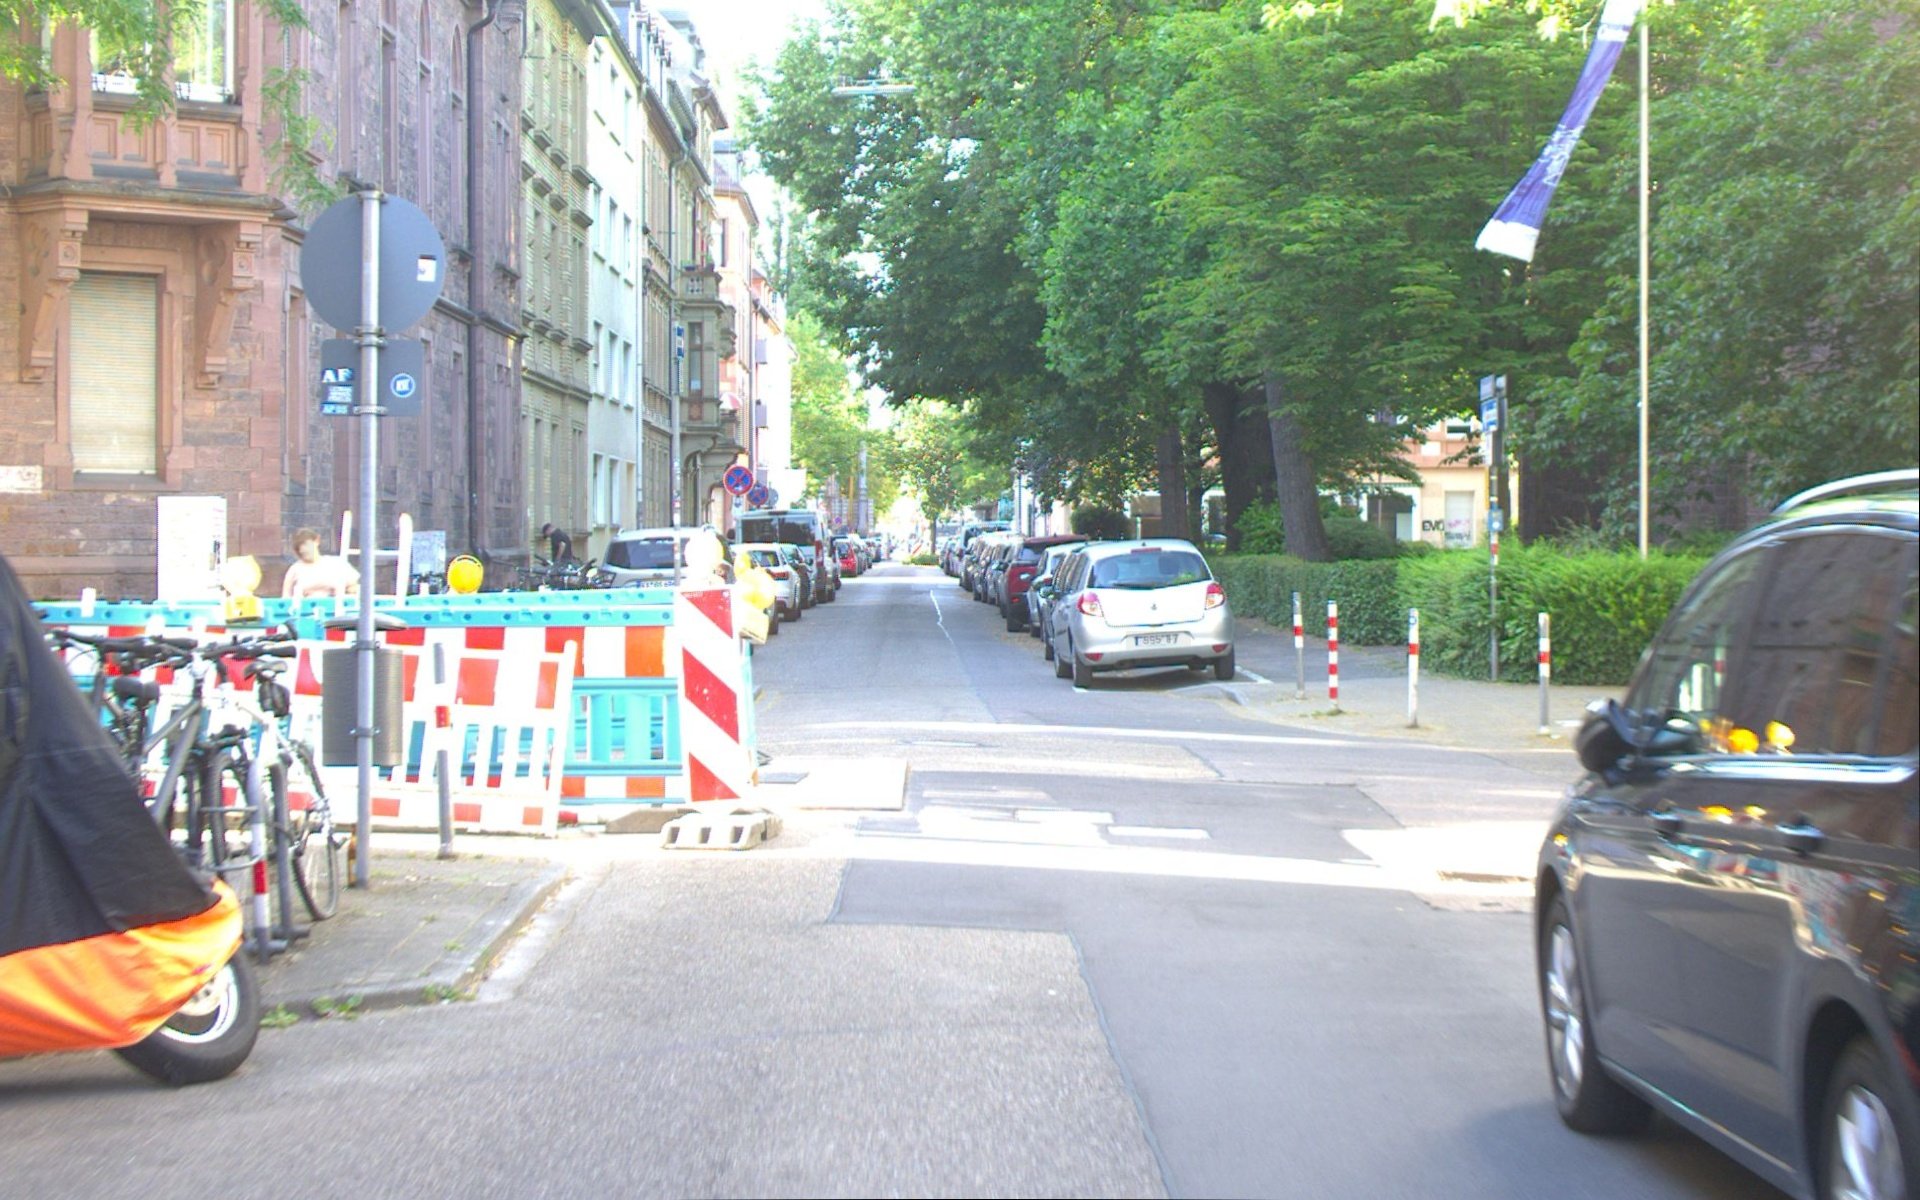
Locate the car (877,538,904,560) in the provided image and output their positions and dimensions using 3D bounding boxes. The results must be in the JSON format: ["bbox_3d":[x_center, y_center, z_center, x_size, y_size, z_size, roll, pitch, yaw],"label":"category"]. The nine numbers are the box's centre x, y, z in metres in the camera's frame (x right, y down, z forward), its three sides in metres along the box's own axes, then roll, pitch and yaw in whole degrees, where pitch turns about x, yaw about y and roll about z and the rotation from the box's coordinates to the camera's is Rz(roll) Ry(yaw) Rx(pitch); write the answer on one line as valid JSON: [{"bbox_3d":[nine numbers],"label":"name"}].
[{"bbox_3d":[-5.047,-3.708,250.480,1.993,1.641,4.000,0,1,-1],"label":"car"}]

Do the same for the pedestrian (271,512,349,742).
[{"bbox_3d":[-4.947,0.197,26.169,0.524,1.734,0.558,0,1,-5],"label":"pedestrian"}]

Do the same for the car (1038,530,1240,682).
[{"bbox_3d":[1.864,0.022,36.927,1.723,1.517,4.001,-1,1,-3],"label":"car"}]

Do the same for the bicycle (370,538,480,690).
[{"bbox_3d":[-5.220,0.106,33.662,0.683,1.418,2.798,0,1,-1],"label":"bicycle"}]

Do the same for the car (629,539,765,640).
[{"bbox_3d":[-3.744,-0.176,49.461,1.725,1.388,4.000,0,1,-1],"label":"car"}]

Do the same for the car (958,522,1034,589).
[{"bbox_3d":[0.920,-1.184,89.644,1.829,1.698,4.001,0,1,-2],"label":"car"}]

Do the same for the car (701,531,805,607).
[{"bbox_3d":[-3.804,-0.598,63.659,1.771,1.349,4.000,0,1,-1],"label":"car"}]

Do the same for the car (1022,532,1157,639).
[{"bbox_3d":[1.973,-0.260,53.293,1.841,1.590,4.000,0,1,-1],"label":"car"}]

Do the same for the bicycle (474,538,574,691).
[{"bbox_3d":[-4.229,0.111,33.236,0.572,1.418,2.503,0,1,-16],"label":"bicycle"}]

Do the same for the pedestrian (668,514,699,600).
[{"bbox_3d":[-6.496,-1.017,80.645,0.684,2.007,0.692,0,1,-8],"label":"pedestrian"}]

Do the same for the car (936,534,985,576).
[{"bbox_3d":[0.011,-1.920,145.980,1.993,1.722,4.000,-1,1,-1],"label":"car"}]

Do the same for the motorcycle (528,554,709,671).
[{"bbox_3d":[-3.646,0.119,36.546,0.664,1.203,2.310,-1,1,-42],"label":"motorcycle"}]

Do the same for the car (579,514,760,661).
[{"bbox_3d":[-3.584,-0.179,42.977,1.882,1.701,4.000,-1,1,0],"label":"car"}]

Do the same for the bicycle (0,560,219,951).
[{"bbox_3d":[-3.030,0.503,12.273,0.399,1.223,1.874,-1,3,-2],"label":"bicycle"}]

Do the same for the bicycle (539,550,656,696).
[{"bbox_3d":[-3.519,0.196,33.193,0.682,1.340,2.503,0,1,-16],"label":"bicycle"}]

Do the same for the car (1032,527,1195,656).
[{"bbox_3d":[1.844,-0.124,42.458,1.723,1.517,4.000,0,1,-2],"label":"car"}]

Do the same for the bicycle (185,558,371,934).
[{"bbox_3d":[-2.440,0.486,12.405,0.399,1.223,1.505,-1,3,-2],"label":"bicycle"}]

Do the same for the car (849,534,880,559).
[{"bbox_3d":[-6.325,-3.556,228.106,1.993,1.641,4.000,0,1,-1],"label":"car"}]

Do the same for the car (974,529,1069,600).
[{"bbox_3d":[1.372,-0.823,78.292,1.993,1.568,4.000,0,1,-2],"label":"car"}]

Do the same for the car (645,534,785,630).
[{"bbox_3d":[-3.803,-0.295,53.974,1.882,1.406,4.000,-1,1,0],"label":"car"}]

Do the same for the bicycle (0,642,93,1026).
[{"bbox_3d":[-3.481,0.811,12.370,0.363,1.223,1.553,-1,3,-2],"label":"bicycle"}]

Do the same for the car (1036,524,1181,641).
[{"bbox_3d":[2.031,-0.258,48.101,1.741,1.568,4.000,0,1,-2],"label":"car"}]

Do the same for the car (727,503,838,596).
[{"bbox_3d":[-4.133,-1.188,80.964,2.309,2.107,5.170,0,1,0],"label":"car"}]

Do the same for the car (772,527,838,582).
[{"bbox_3d":[-4.562,-1.341,101.606,1.902,1.568,4.000,0,1,-2],"label":"car"}]

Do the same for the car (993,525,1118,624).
[{"bbox_3d":[1.585,-0.442,58.120,1.894,1.619,4.000,0,1,-1],"label":"car"}]

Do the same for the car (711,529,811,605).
[{"bbox_3d":[-4.197,-0.712,73.106,1.993,1.568,4.000,0,1,-2],"label":"car"}]

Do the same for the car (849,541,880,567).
[{"bbox_3d":[-6.088,-2.943,219.600,1.993,1.641,4.000,0,1,-1],"label":"car"}]

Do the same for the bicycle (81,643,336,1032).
[{"bbox_3d":[-2.486,0.748,11.511,0.425,1.136,1.666,3,1,1],"label":"bicycle"}]

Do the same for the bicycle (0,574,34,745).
[{"bbox_3d":[-7.952,0.504,26.958,0.683,1.316,2.445,0,3,0],"label":"bicycle"}]

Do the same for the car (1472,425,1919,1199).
[{"bbox_3d":[2.422,0.514,7.412,1.900,1.634,4.391,0,1,-1],"label":"car"}]

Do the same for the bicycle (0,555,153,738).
[{"bbox_3d":[-6.968,0.339,27.097,0.683,1.316,2.143,0,3,0],"label":"bicycle"}]

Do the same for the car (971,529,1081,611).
[{"bbox_3d":[1.276,-0.604,67.993,1.993,1.568,4.000,0,1,-2],"label":"car"}]

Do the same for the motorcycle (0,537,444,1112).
[{"bbox_3d":[-2.733,0.571,9.203,2.511,1.477,0.904,0,1,-27],"label":"motorcycle"}]

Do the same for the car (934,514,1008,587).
[{"bbox_3d":[0.320,-1.556,108.490,2.160,2.248,4.526,0,1,-2],"label":"car"}]
